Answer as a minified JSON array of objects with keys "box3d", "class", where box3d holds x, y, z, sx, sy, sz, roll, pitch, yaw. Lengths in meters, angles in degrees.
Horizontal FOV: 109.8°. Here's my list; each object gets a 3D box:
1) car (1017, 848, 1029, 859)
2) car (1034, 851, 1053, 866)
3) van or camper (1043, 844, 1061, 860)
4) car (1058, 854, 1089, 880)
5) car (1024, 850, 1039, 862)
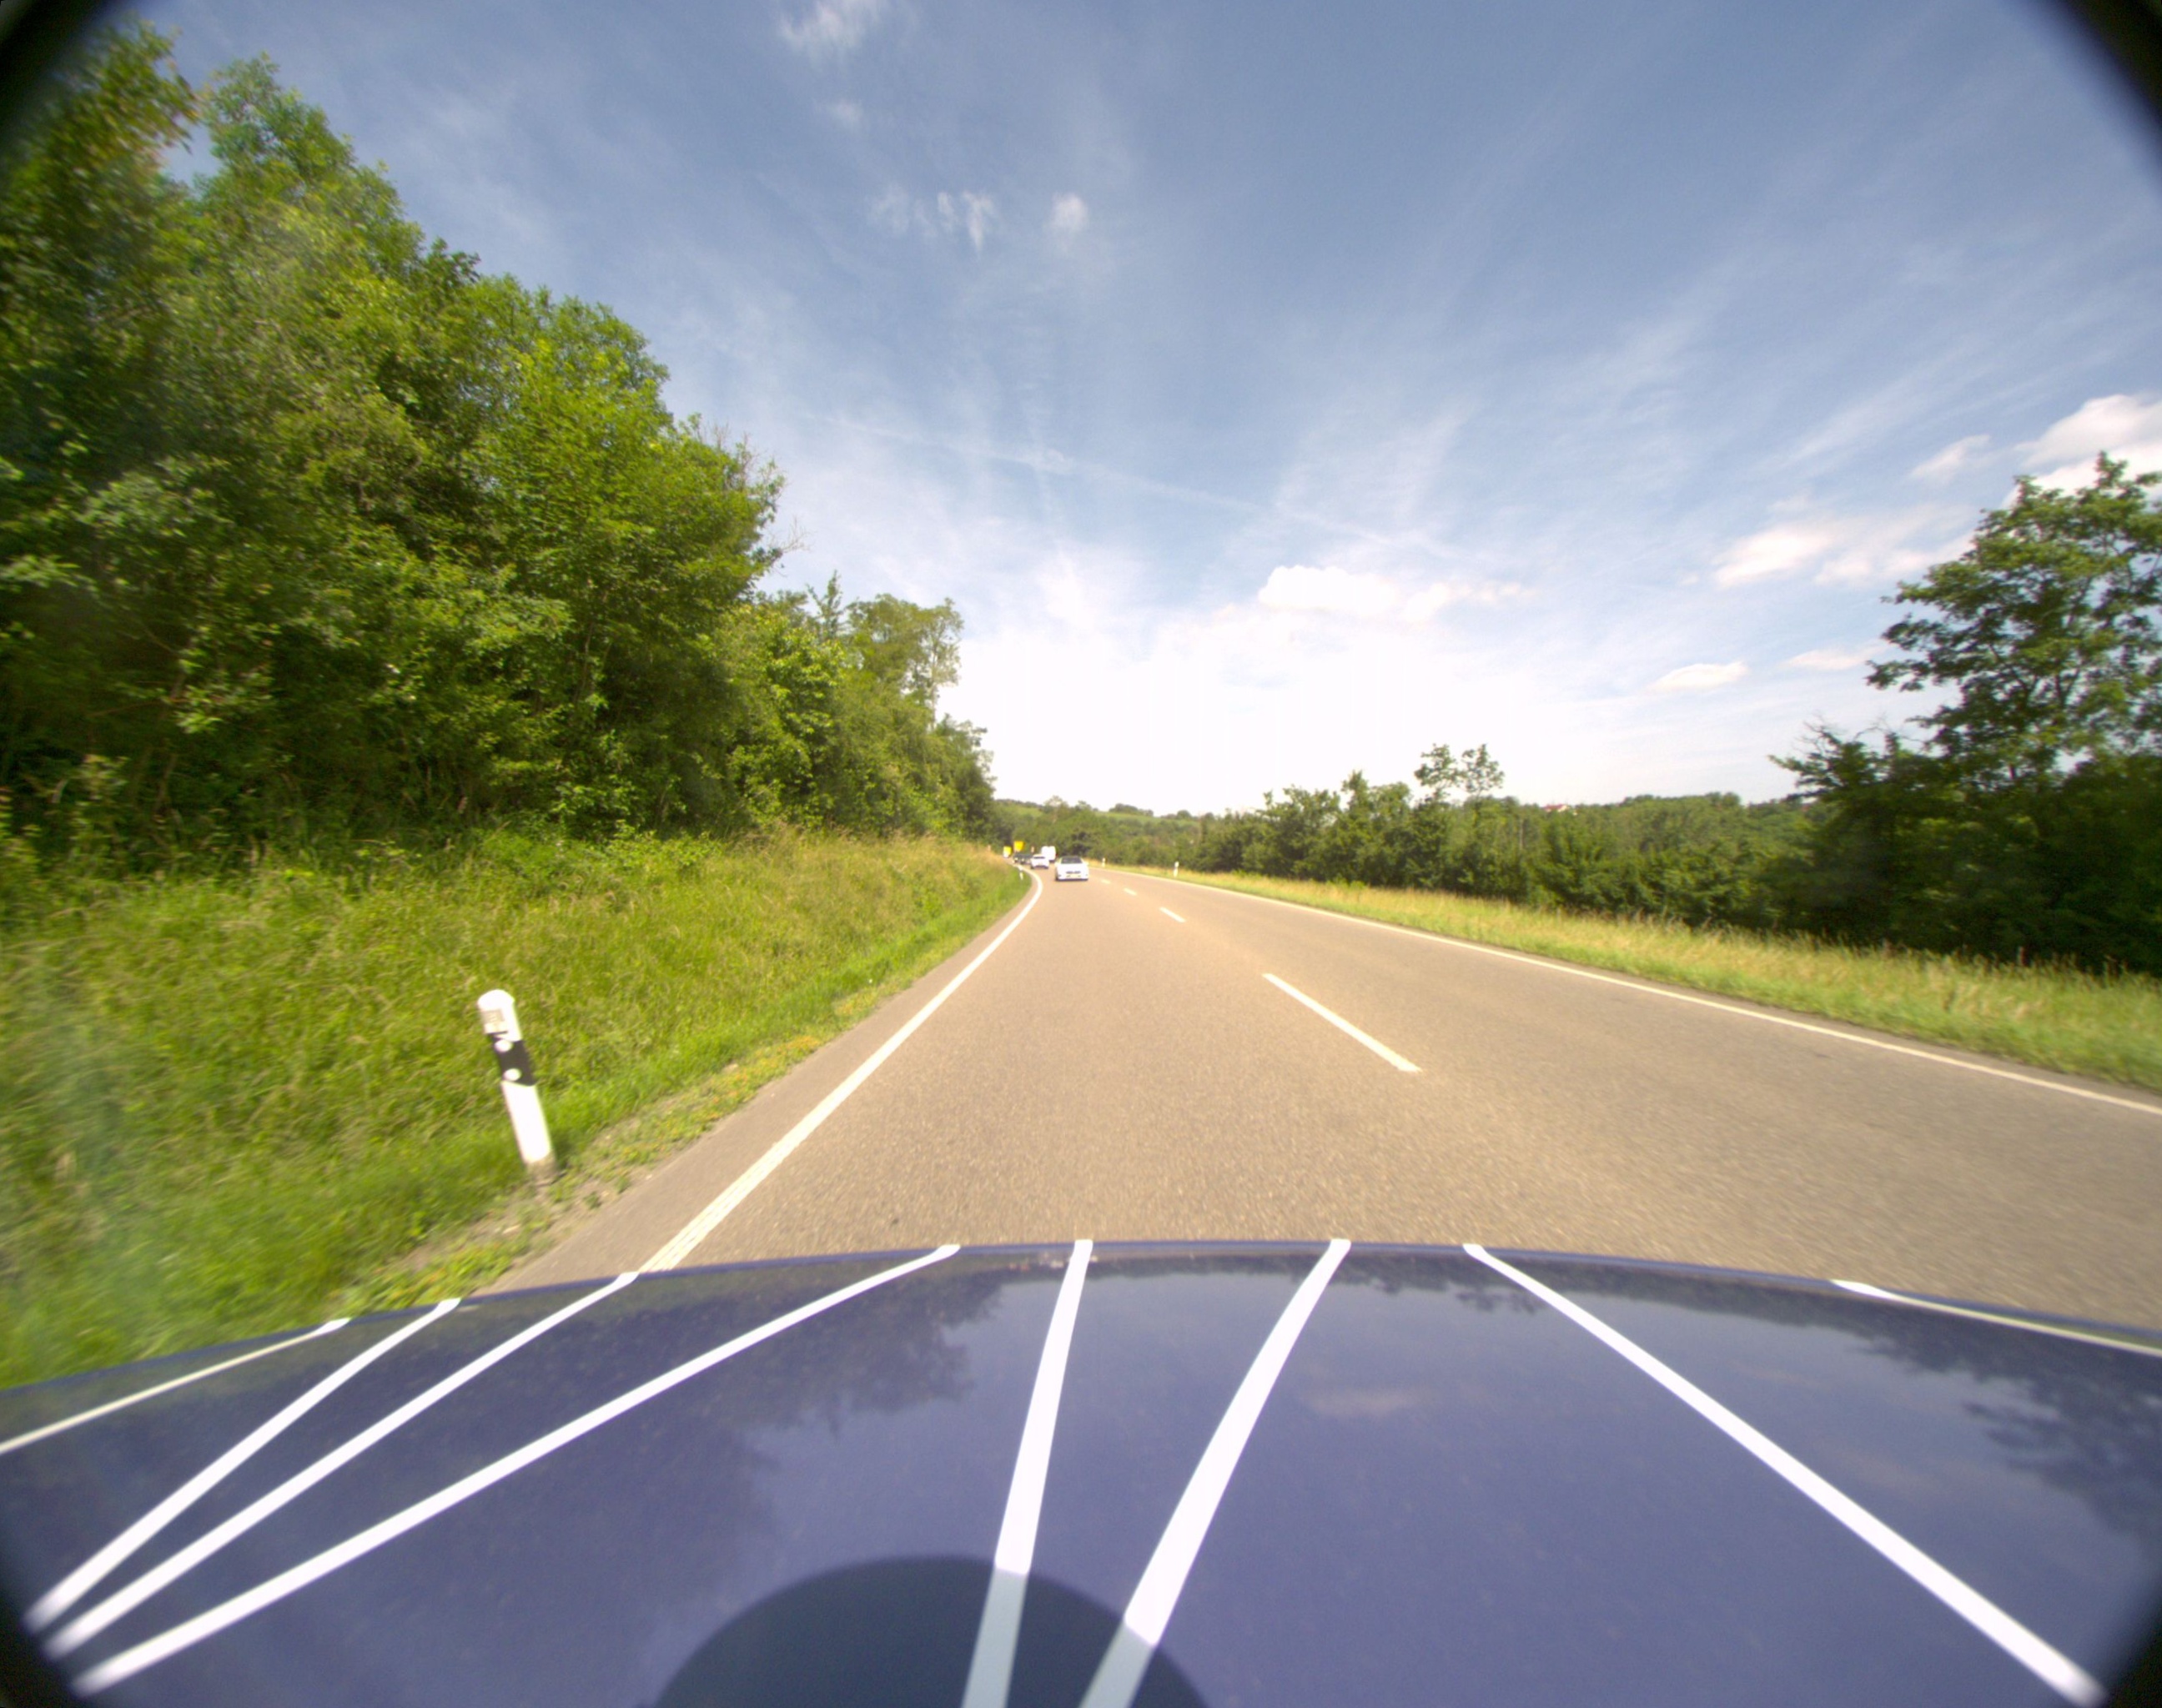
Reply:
[{"box3d":[-9.562,-0.060,124.589,1.667,1.641,3.996,2,0,-8],"class":"car"},{"box3d":[-3.983,0.490,80.895,1.867,1.480,3.998,-2,0,-4],"class":"car"},{"box3d":[-4.636,-0.324,119.949,2.215,2.513,6.128,-1,1,-7],"class":"van or camper"},{"box3d":[-0.479,0.752,45.973,1.773,1.437,3.999,-2,0,-1],"class":"car"},{"box3d":[-6.962,0.235,106.279,1.826,1.510,3.997,2,0,-7],"class":"car"}]
